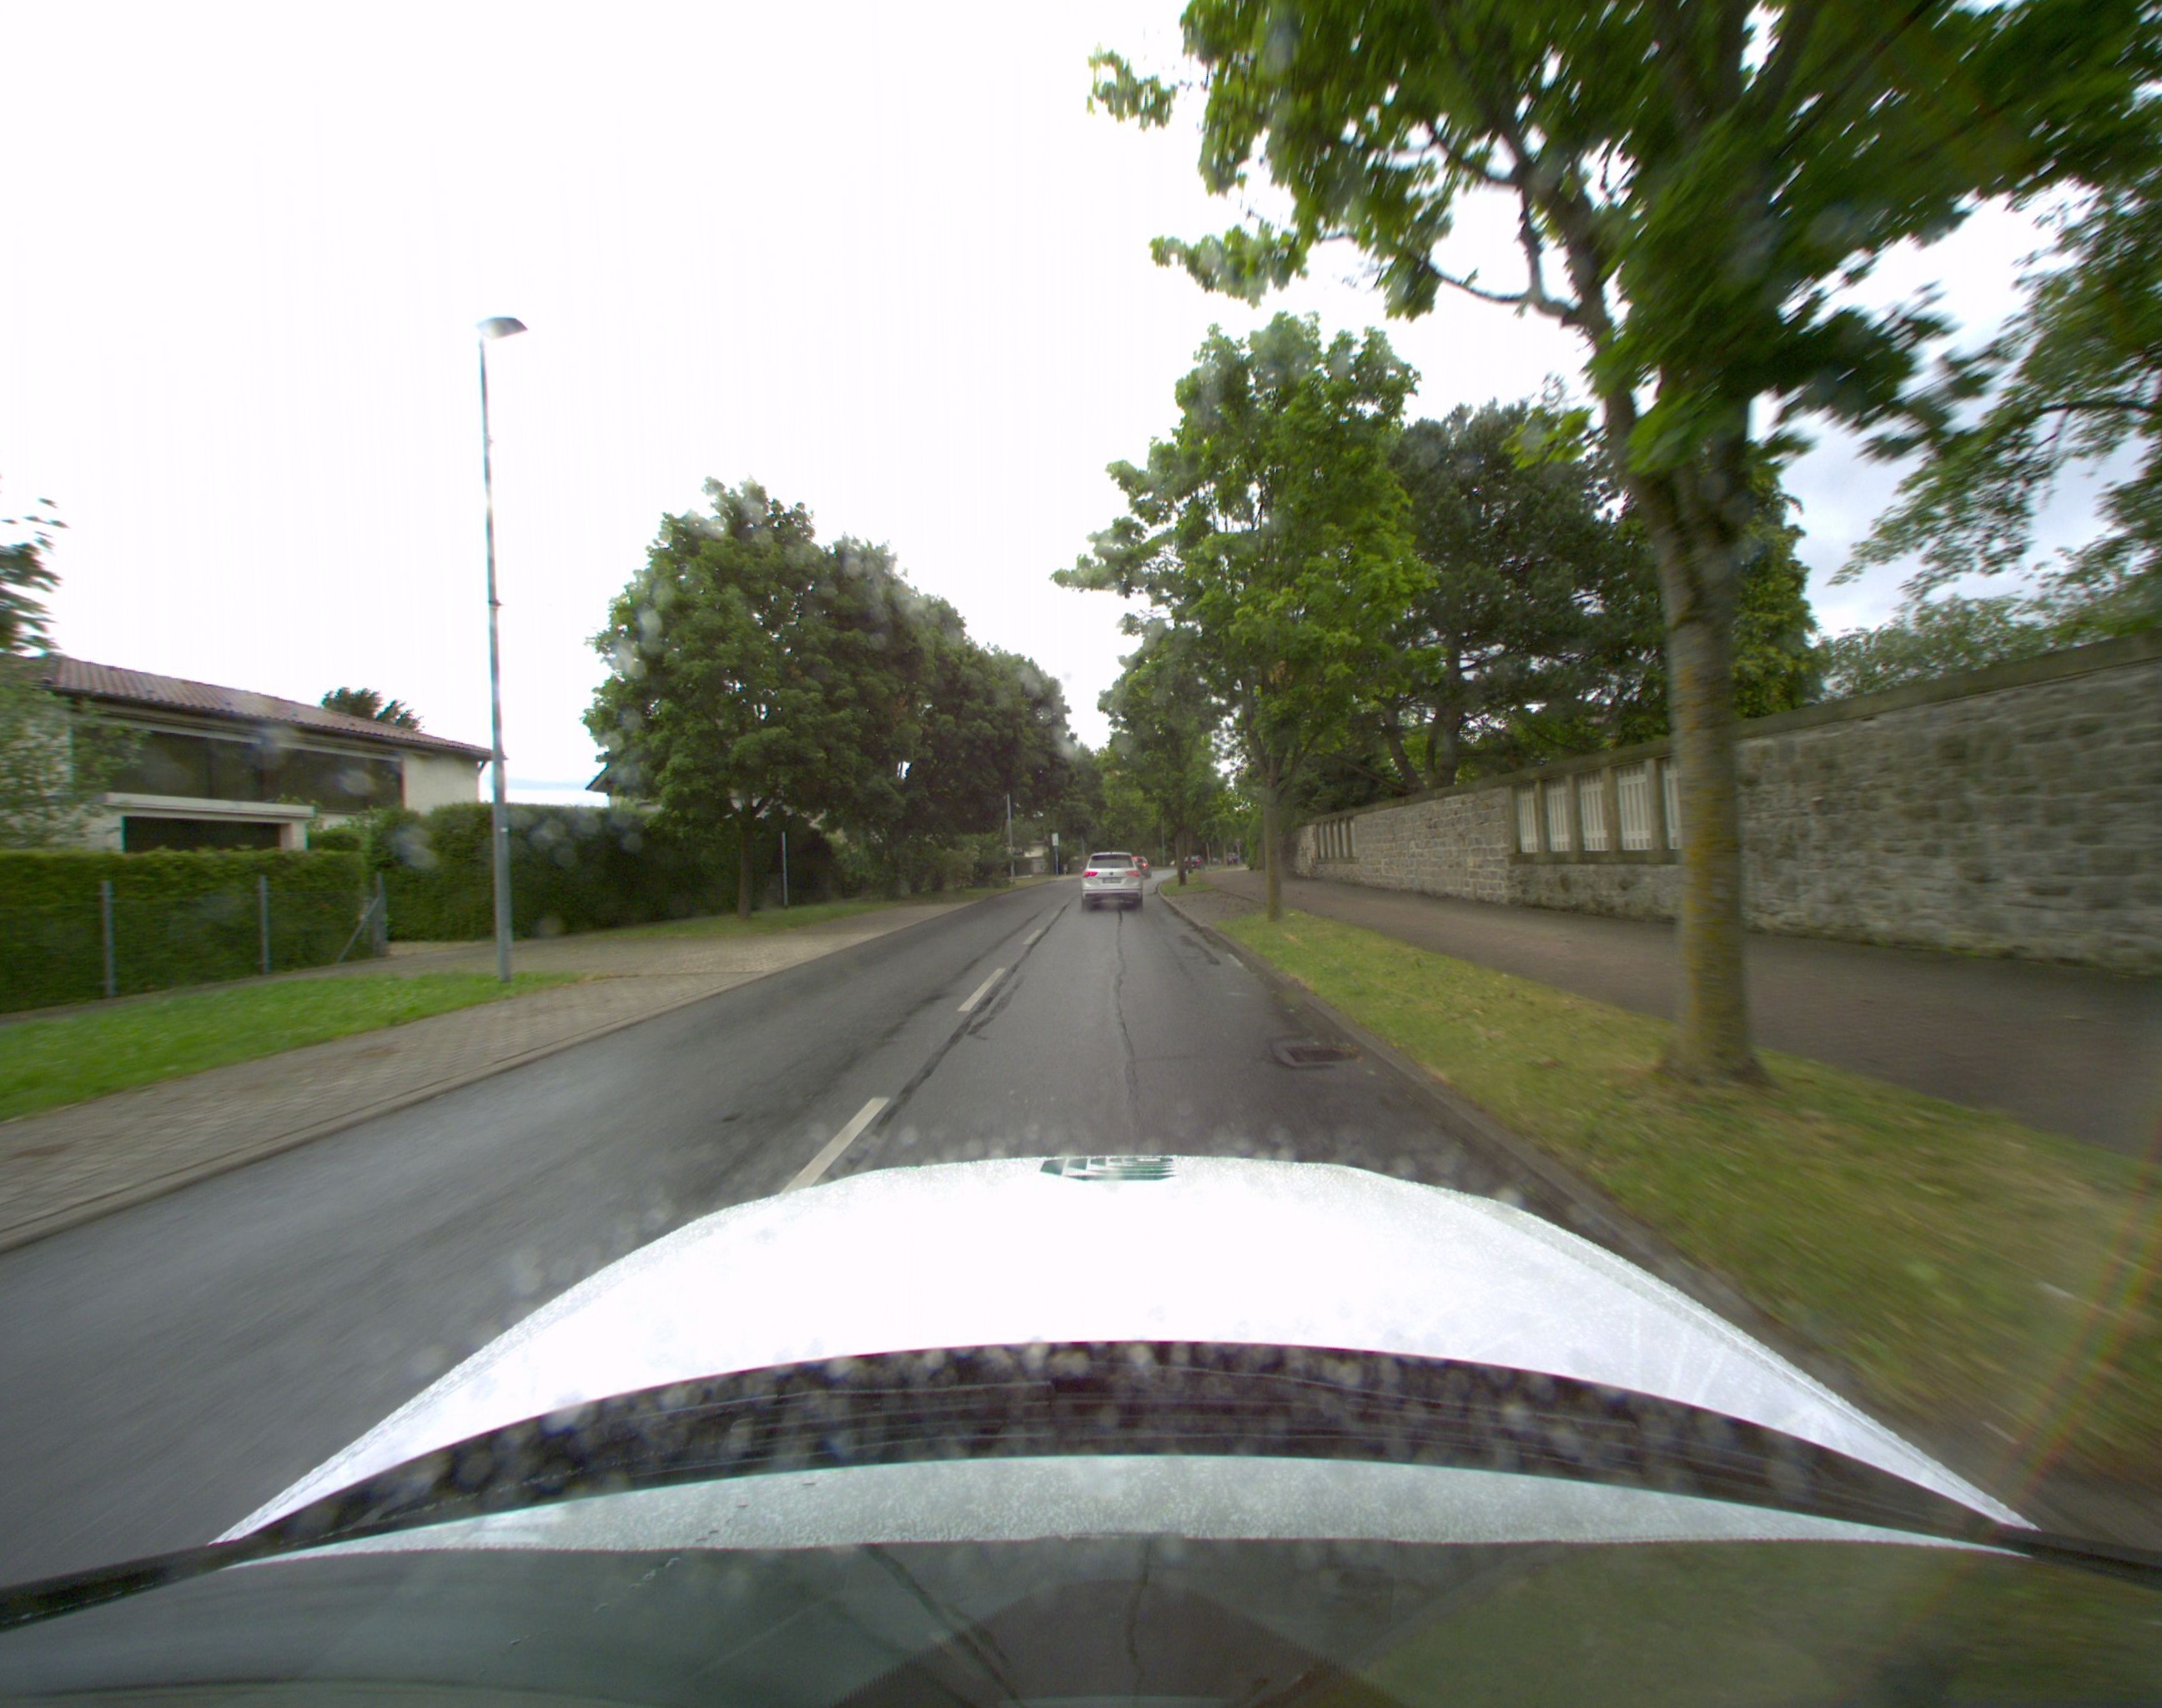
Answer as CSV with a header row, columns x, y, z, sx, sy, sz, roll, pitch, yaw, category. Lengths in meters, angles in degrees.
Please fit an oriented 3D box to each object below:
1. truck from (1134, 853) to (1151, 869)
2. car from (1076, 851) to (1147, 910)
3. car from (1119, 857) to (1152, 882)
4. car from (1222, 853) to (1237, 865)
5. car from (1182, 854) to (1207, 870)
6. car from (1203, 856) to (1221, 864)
x,y,z,sx,sy,sz,roll,pitch,yaw,category
11.065,1.226,145.222,2.270,2.597,5.891,-3,-1,11,truck
0.892,0.772,25.176,1.990,1.632,4.000,-1,-1,1,car
3.754,1.058,55.598,1.830,1.487,4.009,-5,-1,8,car
20.501,0.762,112.517,1.829,1.487,4.012,-5,-1,11,car
10.986,0.766,78.808,1.826,1.487,4.017,0,0,16,car
26.275,1.264,163.488,1.846,1.482,3.976,-3,-1,-18,car
